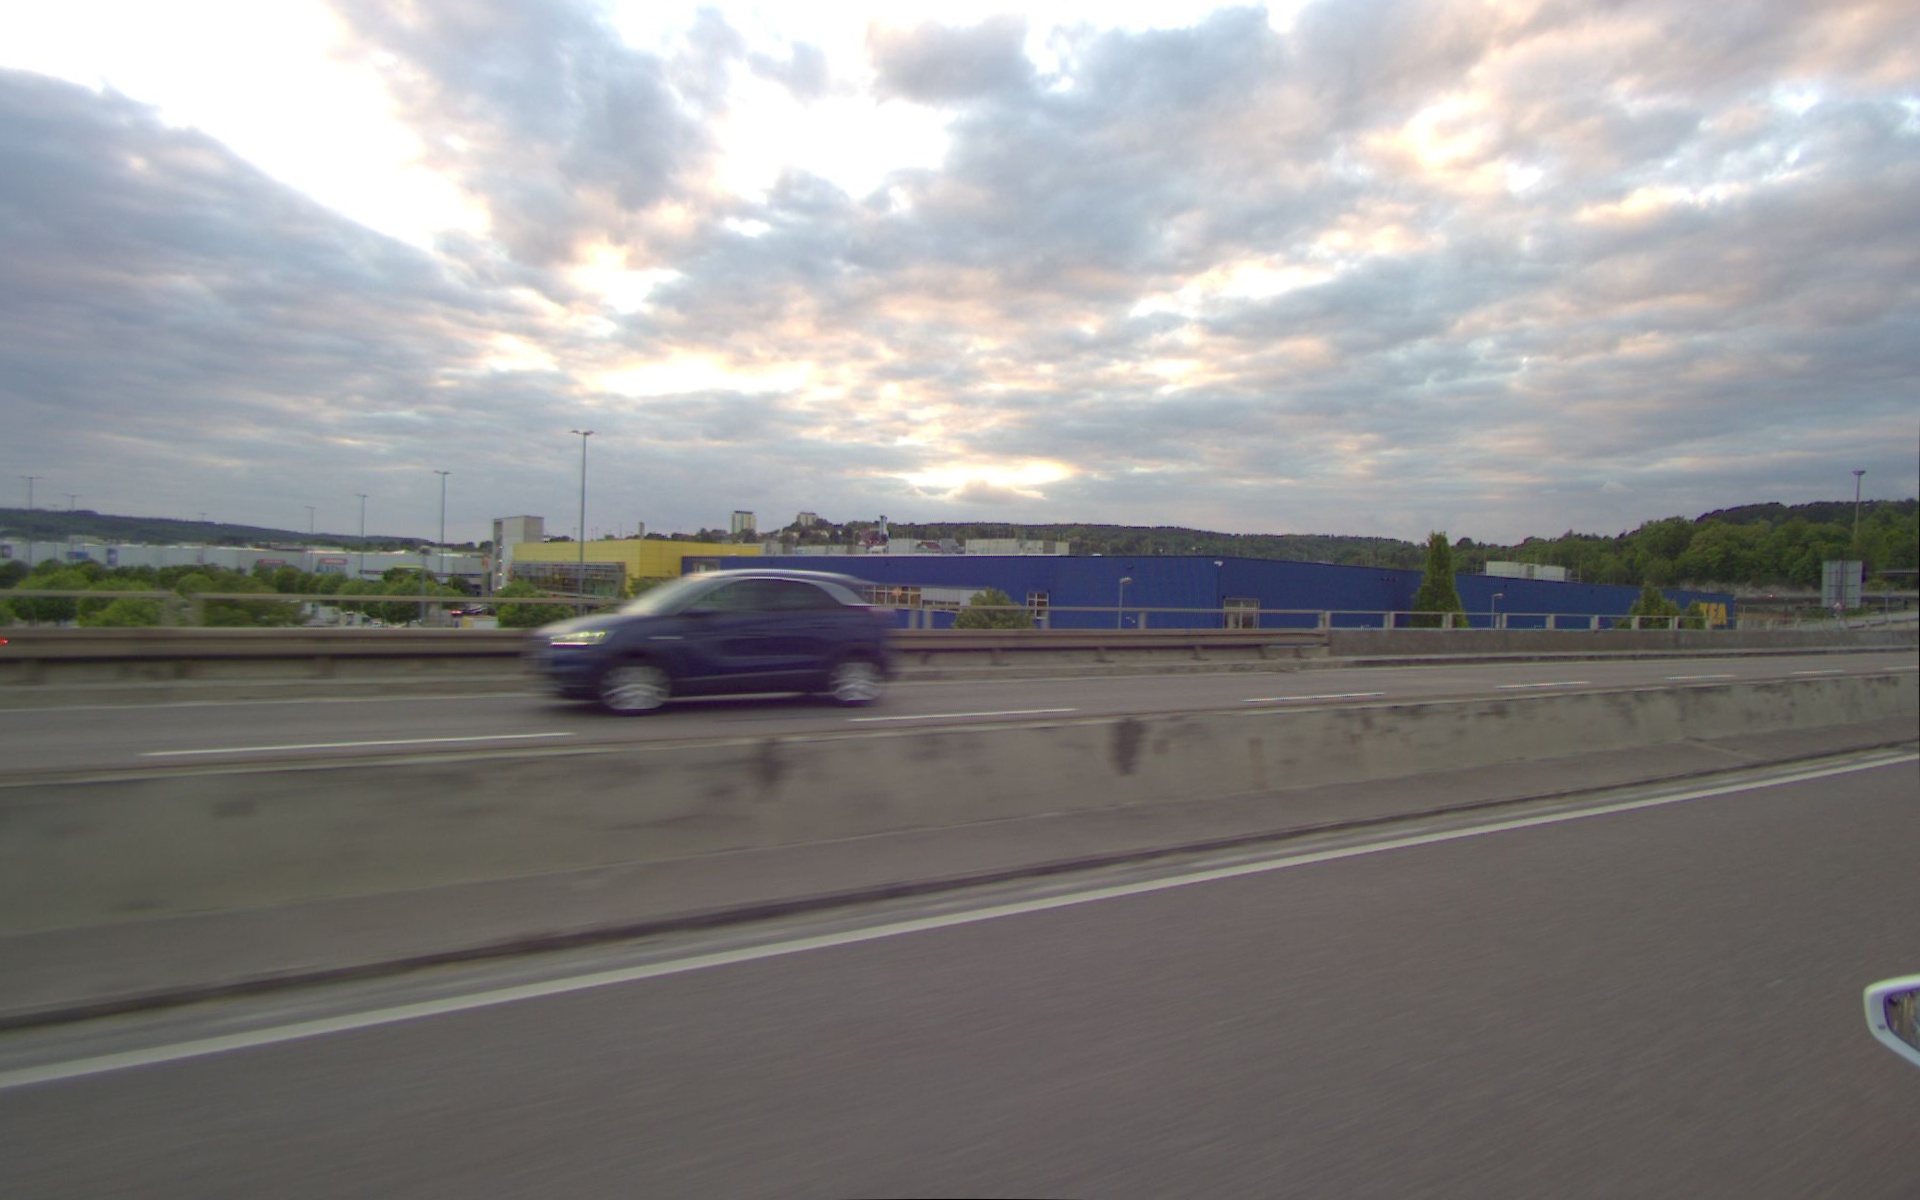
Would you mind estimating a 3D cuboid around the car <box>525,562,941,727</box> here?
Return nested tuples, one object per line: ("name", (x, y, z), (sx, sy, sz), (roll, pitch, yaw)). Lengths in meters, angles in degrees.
("car", (-2.615, 0.478, 11.886), (4.392, 1.627, 1.966), (2, 0, -32))
